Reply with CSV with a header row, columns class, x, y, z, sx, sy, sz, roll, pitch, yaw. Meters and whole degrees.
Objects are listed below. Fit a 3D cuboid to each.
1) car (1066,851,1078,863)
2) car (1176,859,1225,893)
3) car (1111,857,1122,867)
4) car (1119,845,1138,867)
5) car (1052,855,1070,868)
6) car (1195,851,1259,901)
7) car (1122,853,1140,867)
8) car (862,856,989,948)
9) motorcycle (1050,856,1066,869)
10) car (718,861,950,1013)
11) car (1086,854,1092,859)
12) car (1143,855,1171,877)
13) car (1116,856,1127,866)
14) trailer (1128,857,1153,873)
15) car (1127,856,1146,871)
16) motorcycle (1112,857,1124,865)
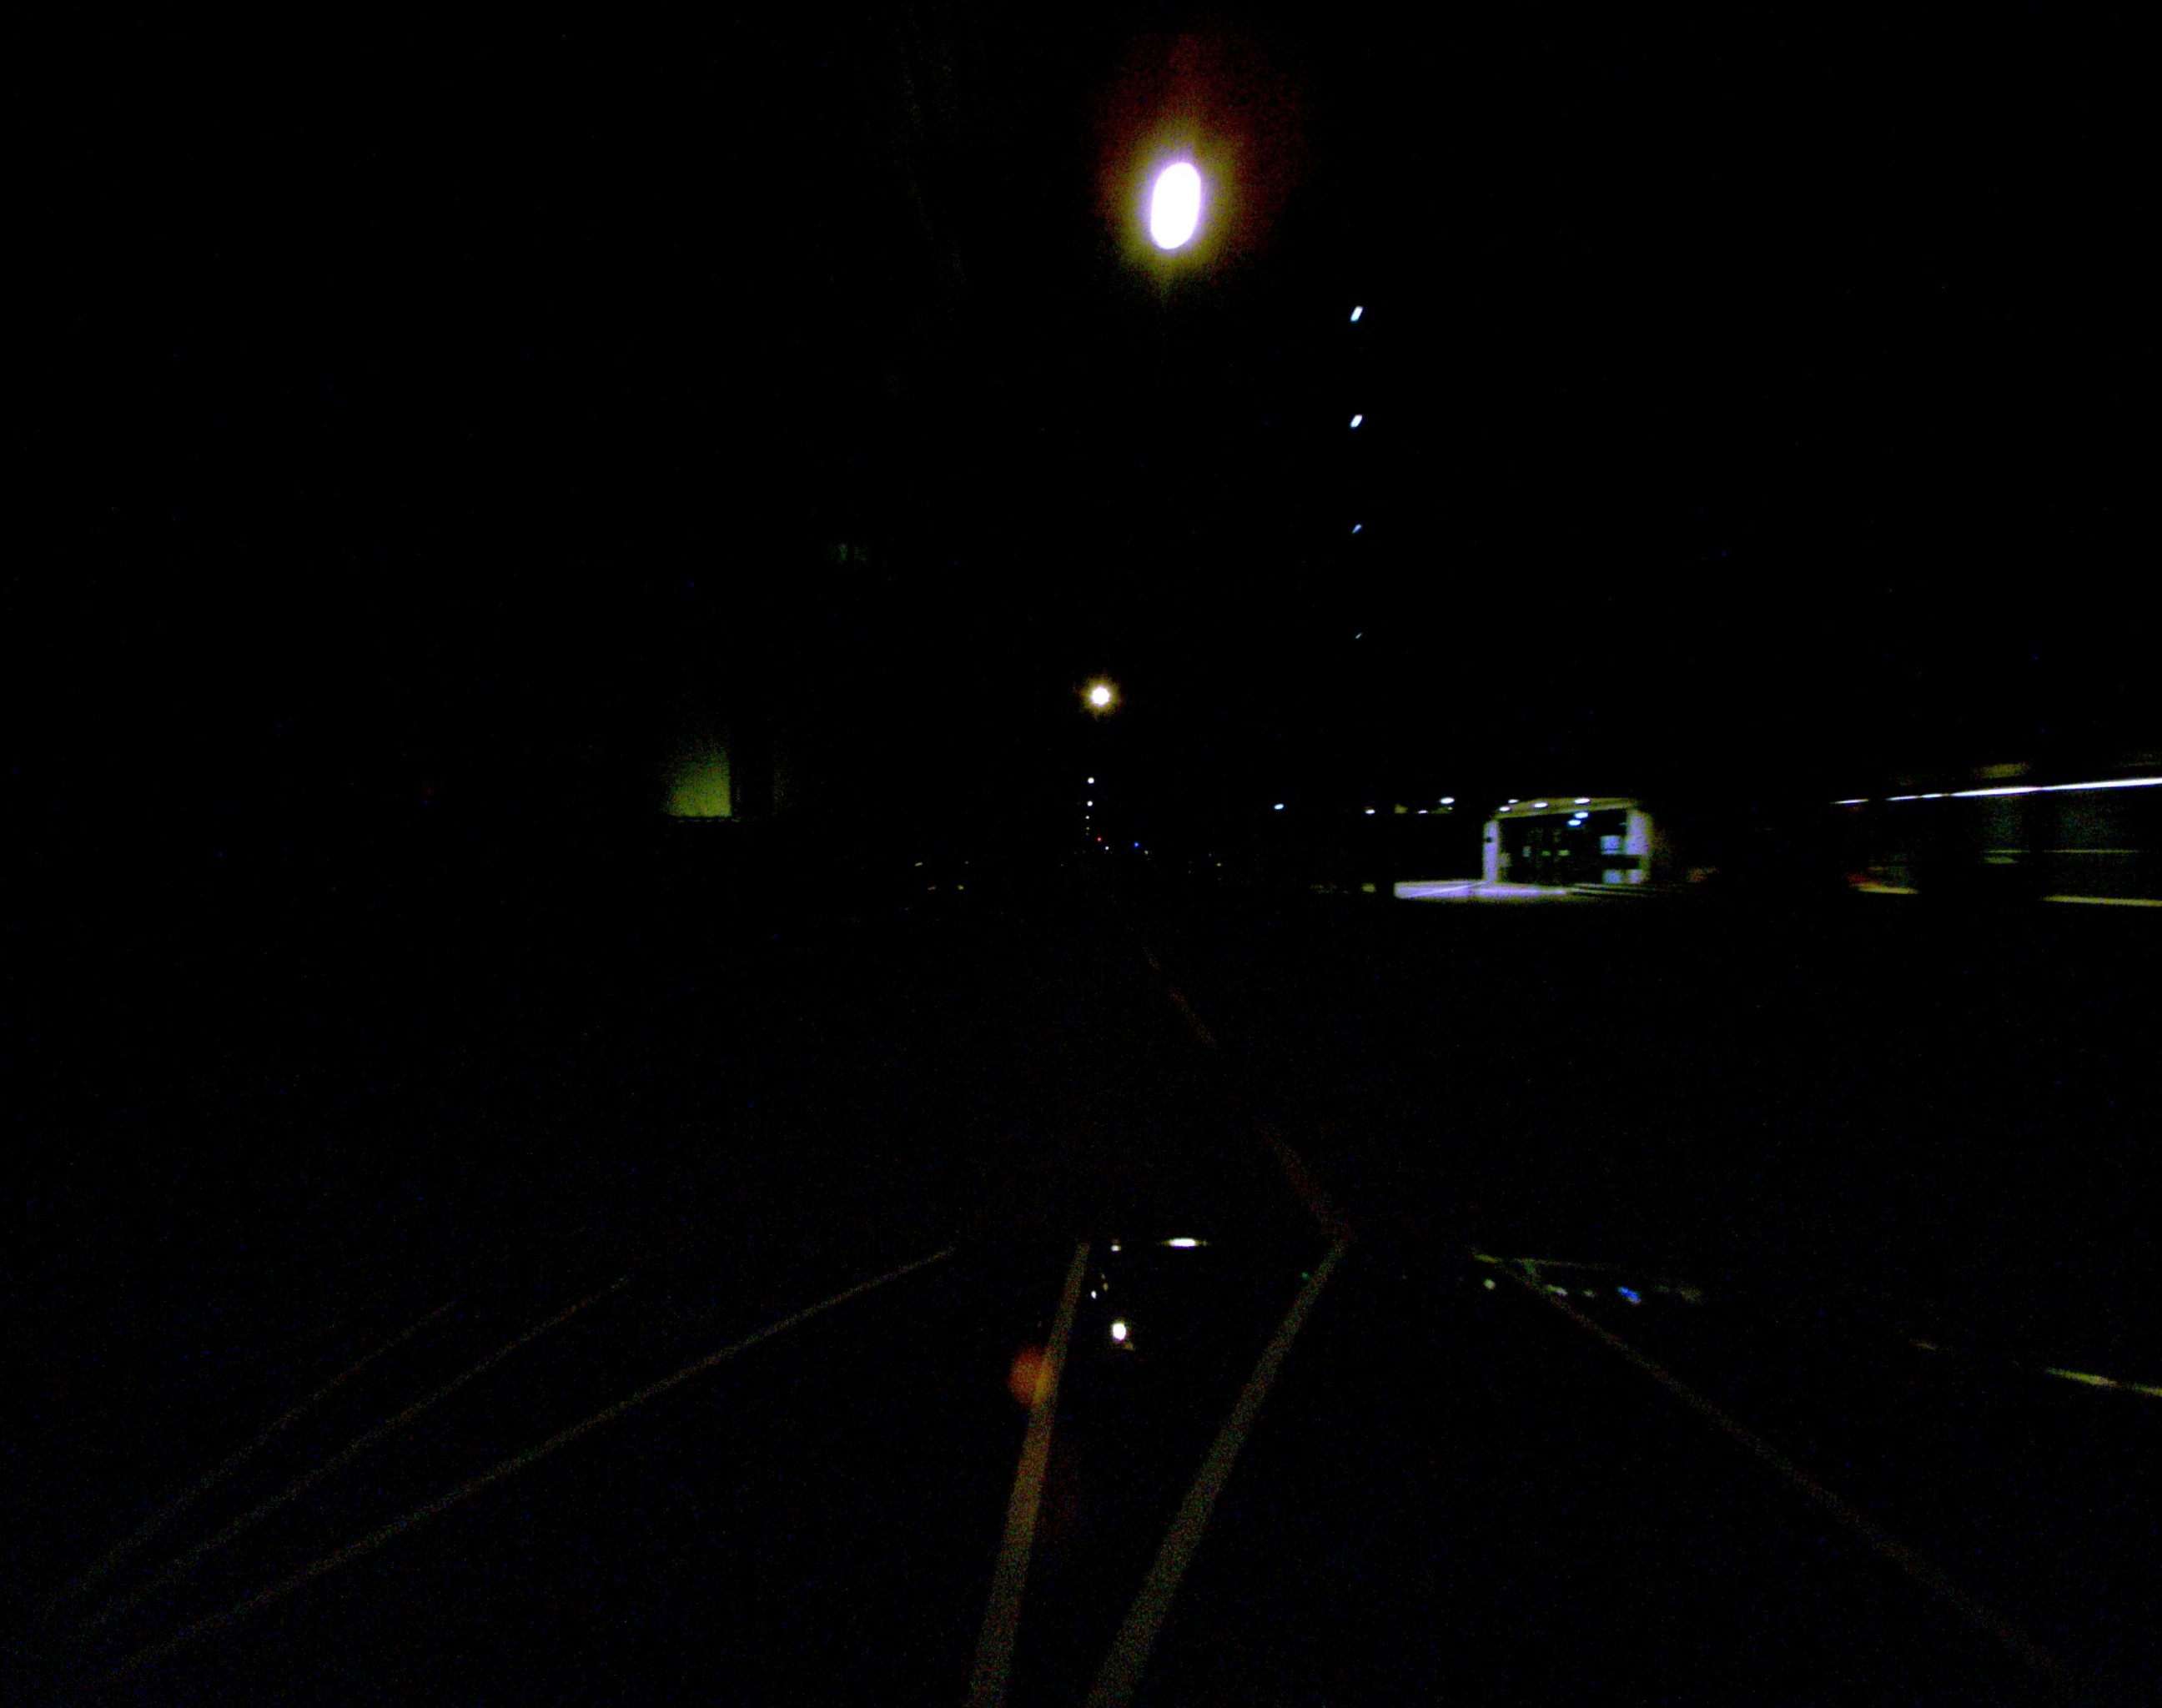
class,x,y,z,sx,sy,sz,roll,pitch,yaw
car,-1.479,0.476,128.980,1.956,1.952,4.603,-1,0,0
car,5.696,1.009,36.478,1.704,1.425,3.828,-2,0,0
car,6.119,1.335,130.616,1.646,1.495,3.903,-3,0,0
car,6.438,0.288,103.350,2.184,2.892,4.909,-2,0,-1
car,-2.283,0.877,86.532,1.672,1.420,4.148,1,0,3
car,5.847,0.835,30.881,1.827,1.801,4.210,-3,0,2
car,6.019,0.688,92.251,1.746,1.597,4.297,-1,0,-2
car,-3.125,0.899,16.123,1.858,1.644,4.208,1,0,-1
motorcycle,-2.487,0.890,80.806,0.930,1.276,2.230,-2,1,-24
car,-3.081,0.941,10.476,1.858,1.595,4.208,1,0,-1
car,2.578,0.756,255.882,1.936,1.646,3.833,0,0,0
car,5.797,0.884,58.547,1.826,1.589,4.073,-1,0,2
car,6.415,1.102,120.263,1.551,1.447,3.368,-2,0,0
trailer,5.711,1.045,73.803,2.115,1.327,5.435,-3,0,2
car,5.954,0.989,81.788,1.721,1.493,4.205,-3,0,0
motorcycle,6.846,1.306,140.626,1.909,1.541,0.638,-2,1,-19
